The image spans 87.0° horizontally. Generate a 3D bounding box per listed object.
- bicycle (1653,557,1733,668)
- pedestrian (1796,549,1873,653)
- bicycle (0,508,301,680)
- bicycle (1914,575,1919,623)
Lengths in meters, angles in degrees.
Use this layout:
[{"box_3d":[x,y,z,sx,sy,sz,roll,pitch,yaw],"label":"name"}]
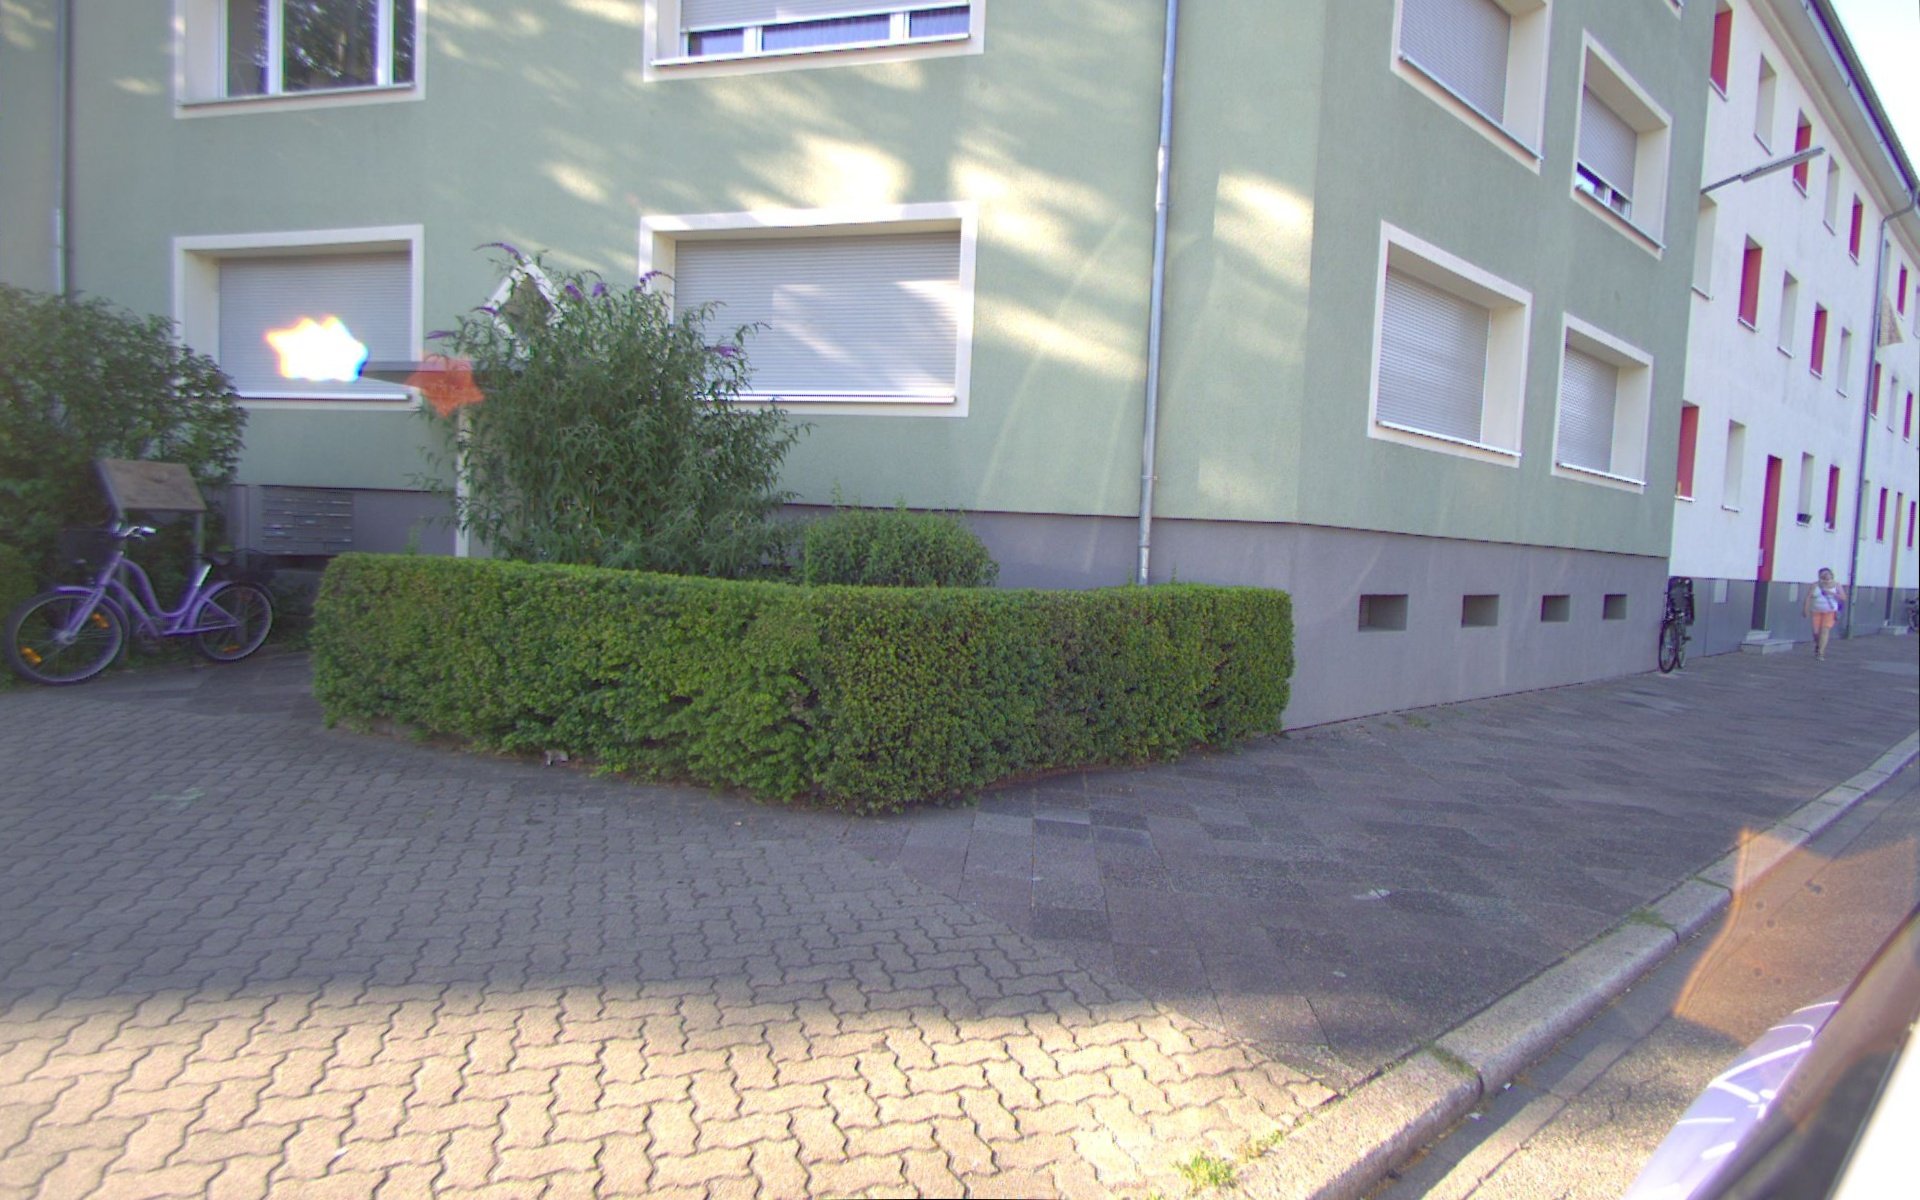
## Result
[{"box_3d":[10.168,0.143,14.009,1.843,1.429,0.517,-1,4,-44],"label":"bicycle"},{"box_3d":[15.395,0.001,17.816,0.933,1.727,0.787,0,5,-41],"label":"pedestrian"},{"box_3d":[-5.875,-0.087,7.310,0.515,1.069,1.920,3,3,22],"label":"bicycle"},{"box_3d":[29.469,-0.030,30.755,1.843,1.429,0.517,-1,4,-44],"label":"bicycle"}]
